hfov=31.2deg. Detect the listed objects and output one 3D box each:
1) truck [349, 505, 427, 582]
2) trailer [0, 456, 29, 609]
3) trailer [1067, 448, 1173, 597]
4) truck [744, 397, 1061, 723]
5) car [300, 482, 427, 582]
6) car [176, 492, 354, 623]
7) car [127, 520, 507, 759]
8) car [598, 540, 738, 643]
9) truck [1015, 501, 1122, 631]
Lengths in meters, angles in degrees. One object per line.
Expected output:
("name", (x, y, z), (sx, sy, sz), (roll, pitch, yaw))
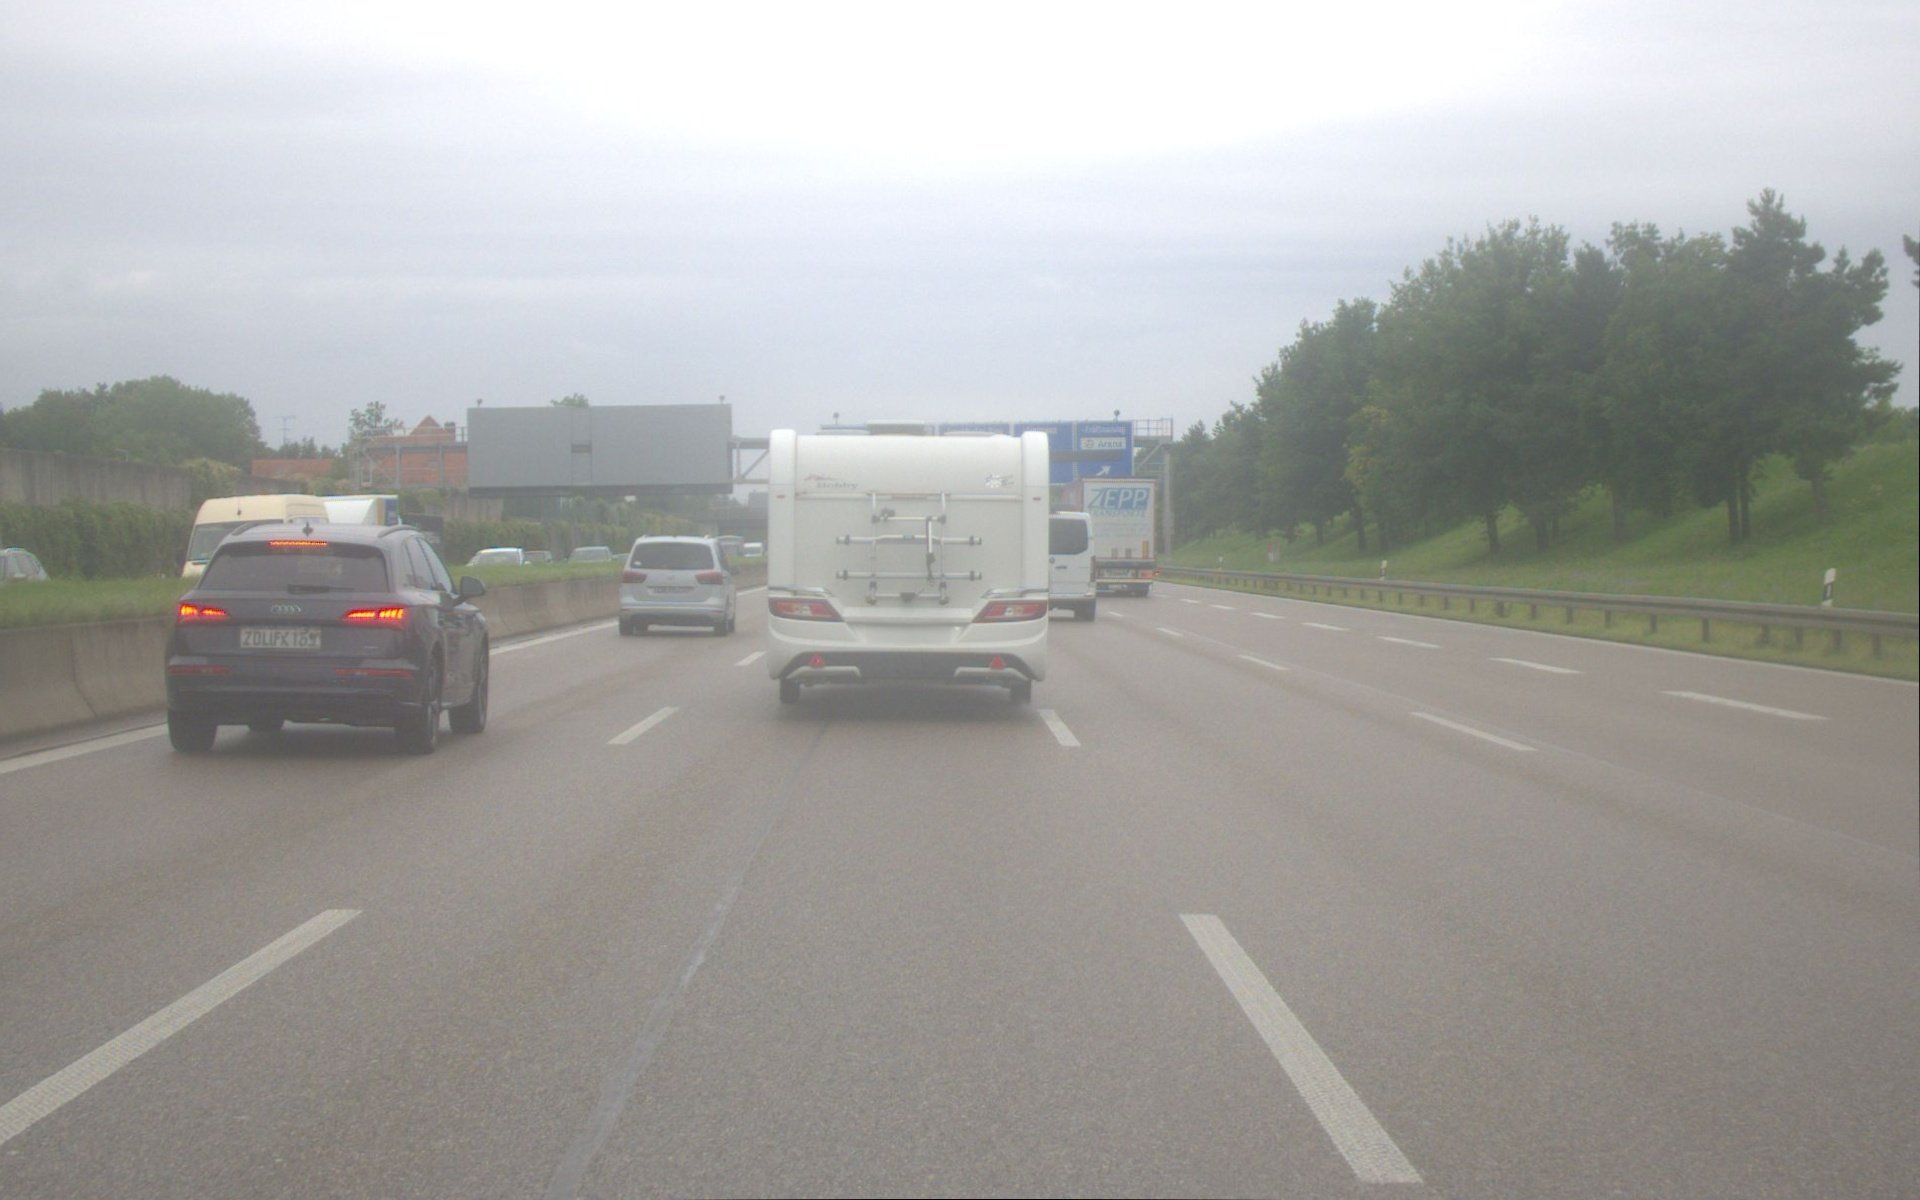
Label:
("truck", (-25.311, -2.486, 152.396), (2.316, 3.262, 6.582), (1, 1, 0))
("trailer", (-20.556, -1.348, 66.796), (2.777, 3.066, 7.873), (1, 1, 0))
("trailer", (5.510, -2.637, 120.519), (3.100, 4.905, 11.790), (1, 1, 0))
("truck", (-0.544, -0.368, 31.884), (2.661, 2.733, 5.078), (1, 1, -1))
("car", (-17.054, -1.911, 98.717), (2.322, 2.725, 7.316), (1, 1, 0))
("car", (-13.383, -0.817, 66.697), (2.058, 2.377, 7.324), (1, 1, -1))
("car", (-4.716, 0.240, 25.982), (1.993, 1.594, 5.124), (1, 1, -1))
("car", (-5.009, -0.175, 59.464), (2.127, 1.700, 4.113), (1, 1, -1))
("truck", (2.369, -0.763, 76.667), (2.053, 2.760, 5.549), (1, 1, -1))
